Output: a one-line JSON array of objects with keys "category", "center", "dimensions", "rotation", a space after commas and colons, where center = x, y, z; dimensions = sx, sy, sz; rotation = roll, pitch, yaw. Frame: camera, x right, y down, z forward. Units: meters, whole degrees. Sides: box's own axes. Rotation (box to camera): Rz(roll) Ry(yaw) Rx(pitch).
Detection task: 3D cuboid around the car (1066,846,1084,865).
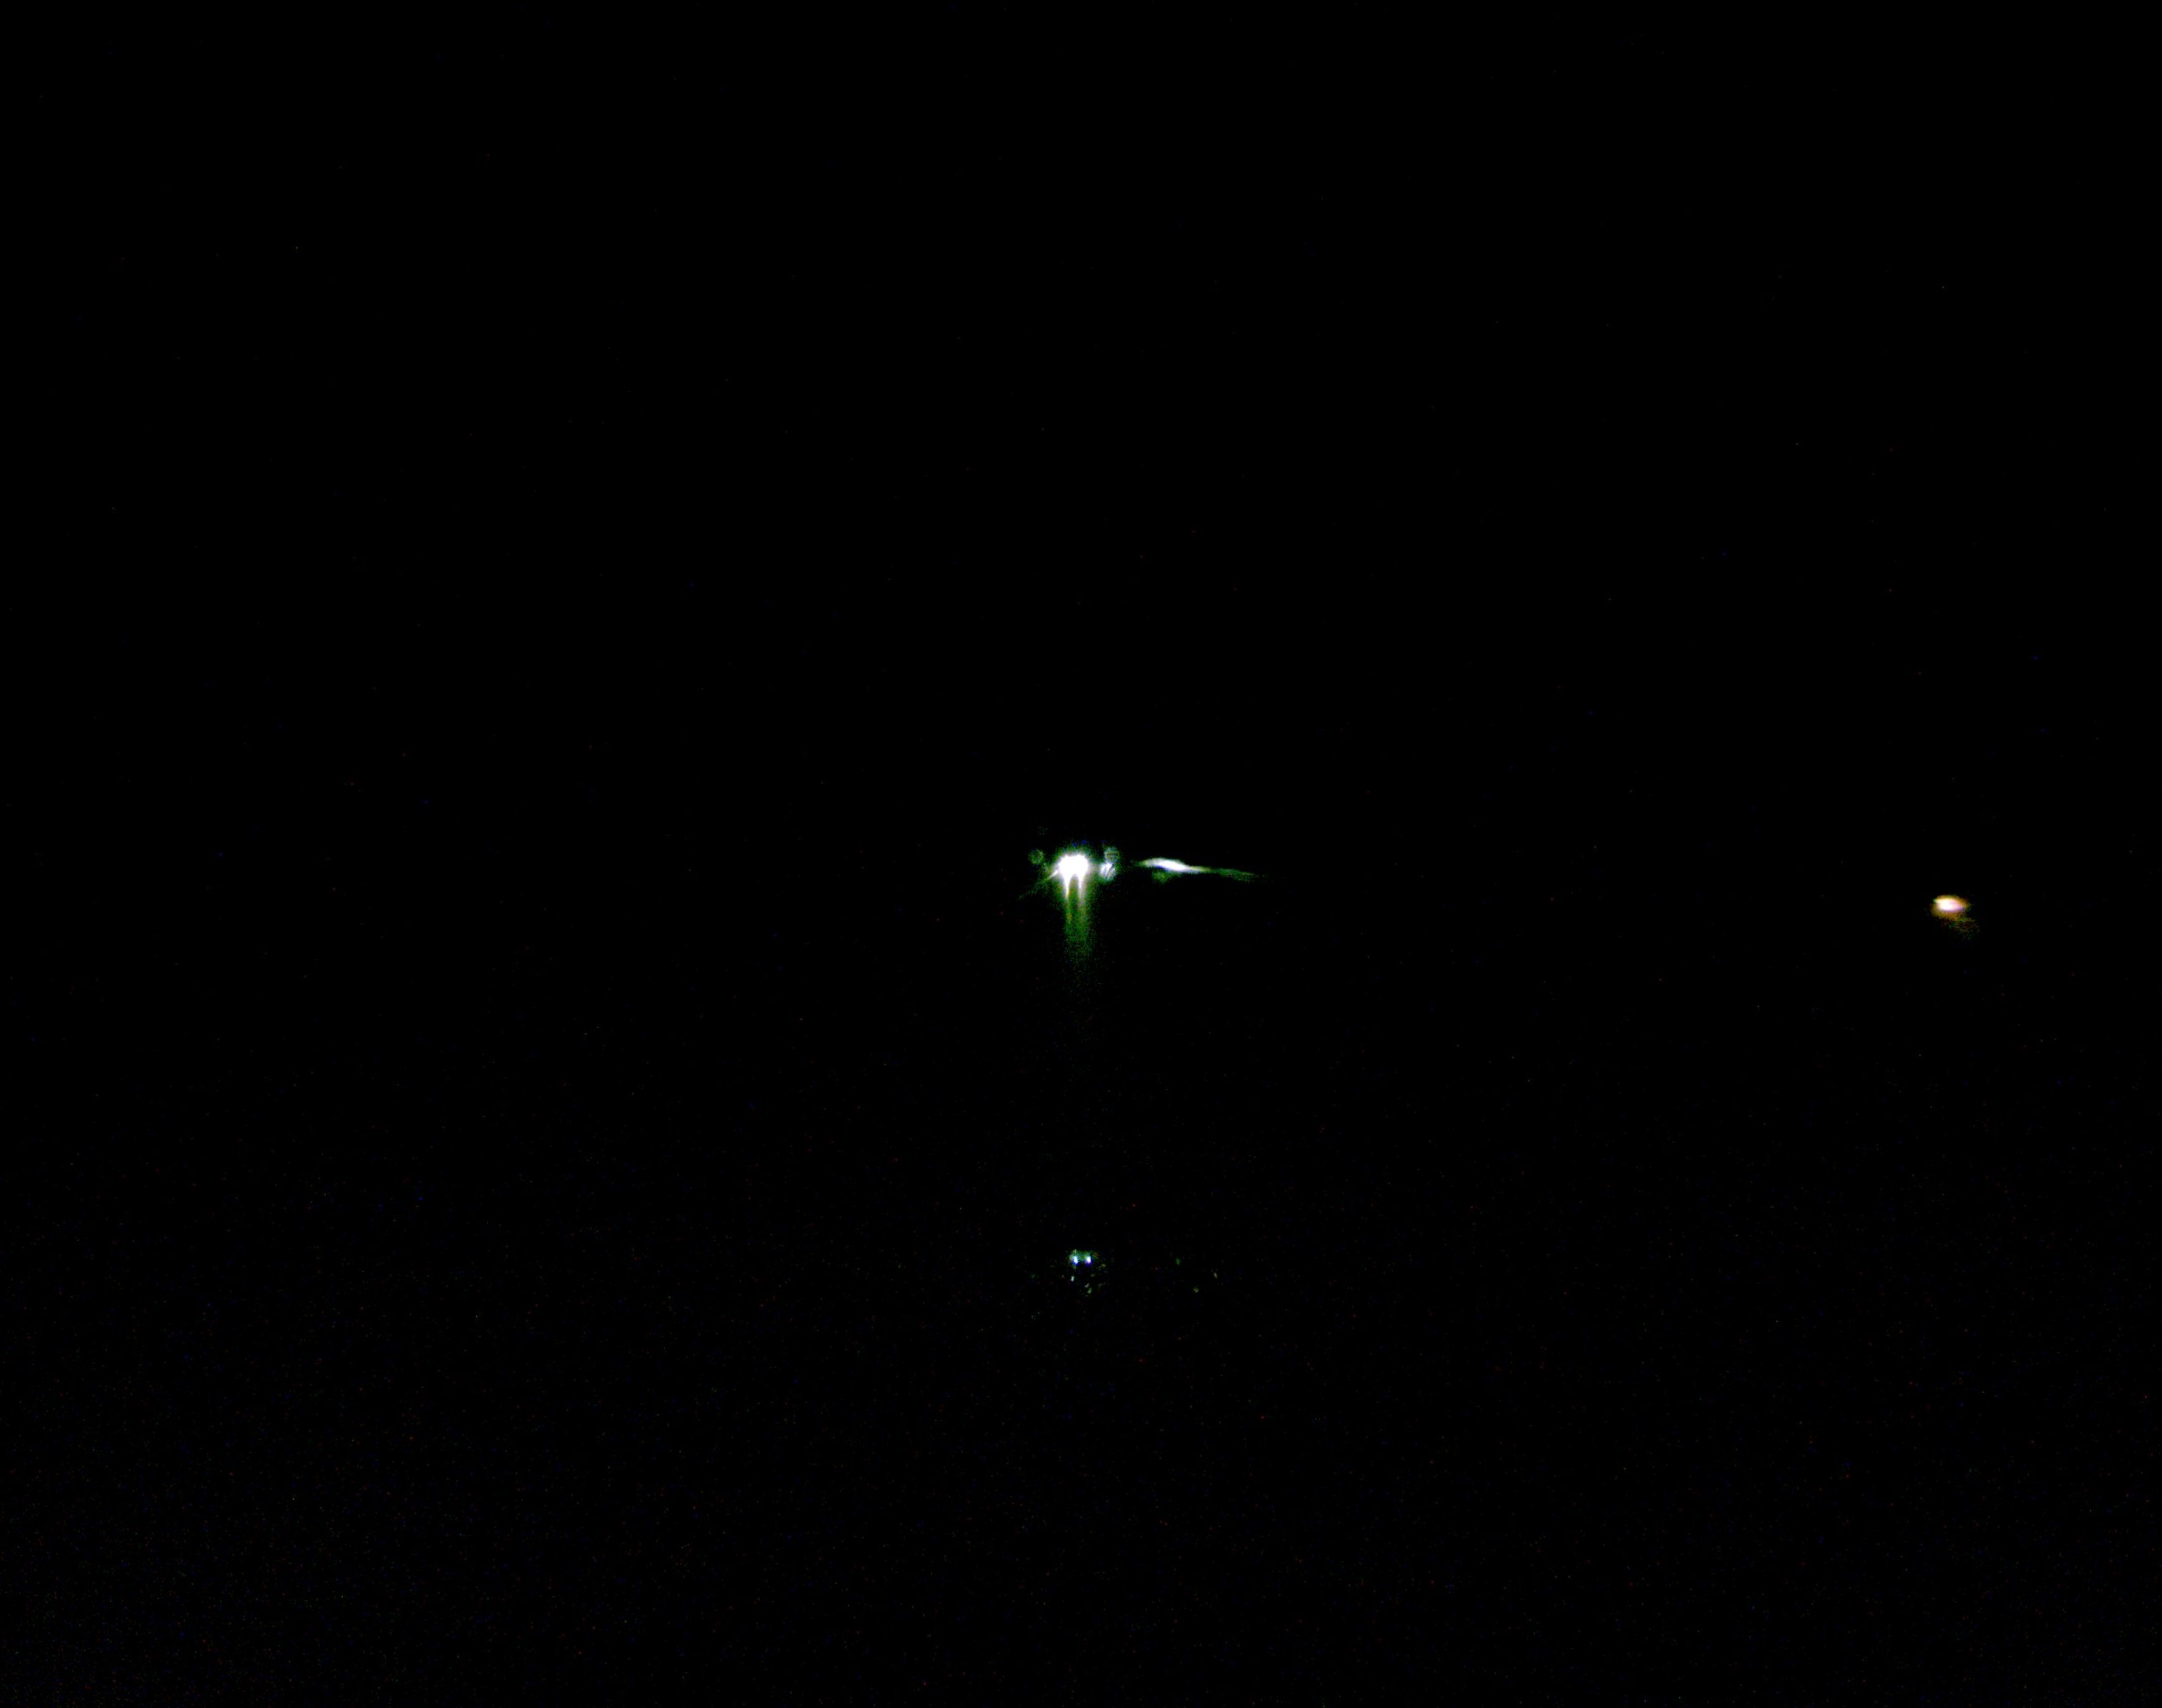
[{"category": "car", "center": [-0.684, 0.134, 93.246], "dimensions": [1.998, 2.003, 3.998], "rotation": [-3, 3, 1]}]
